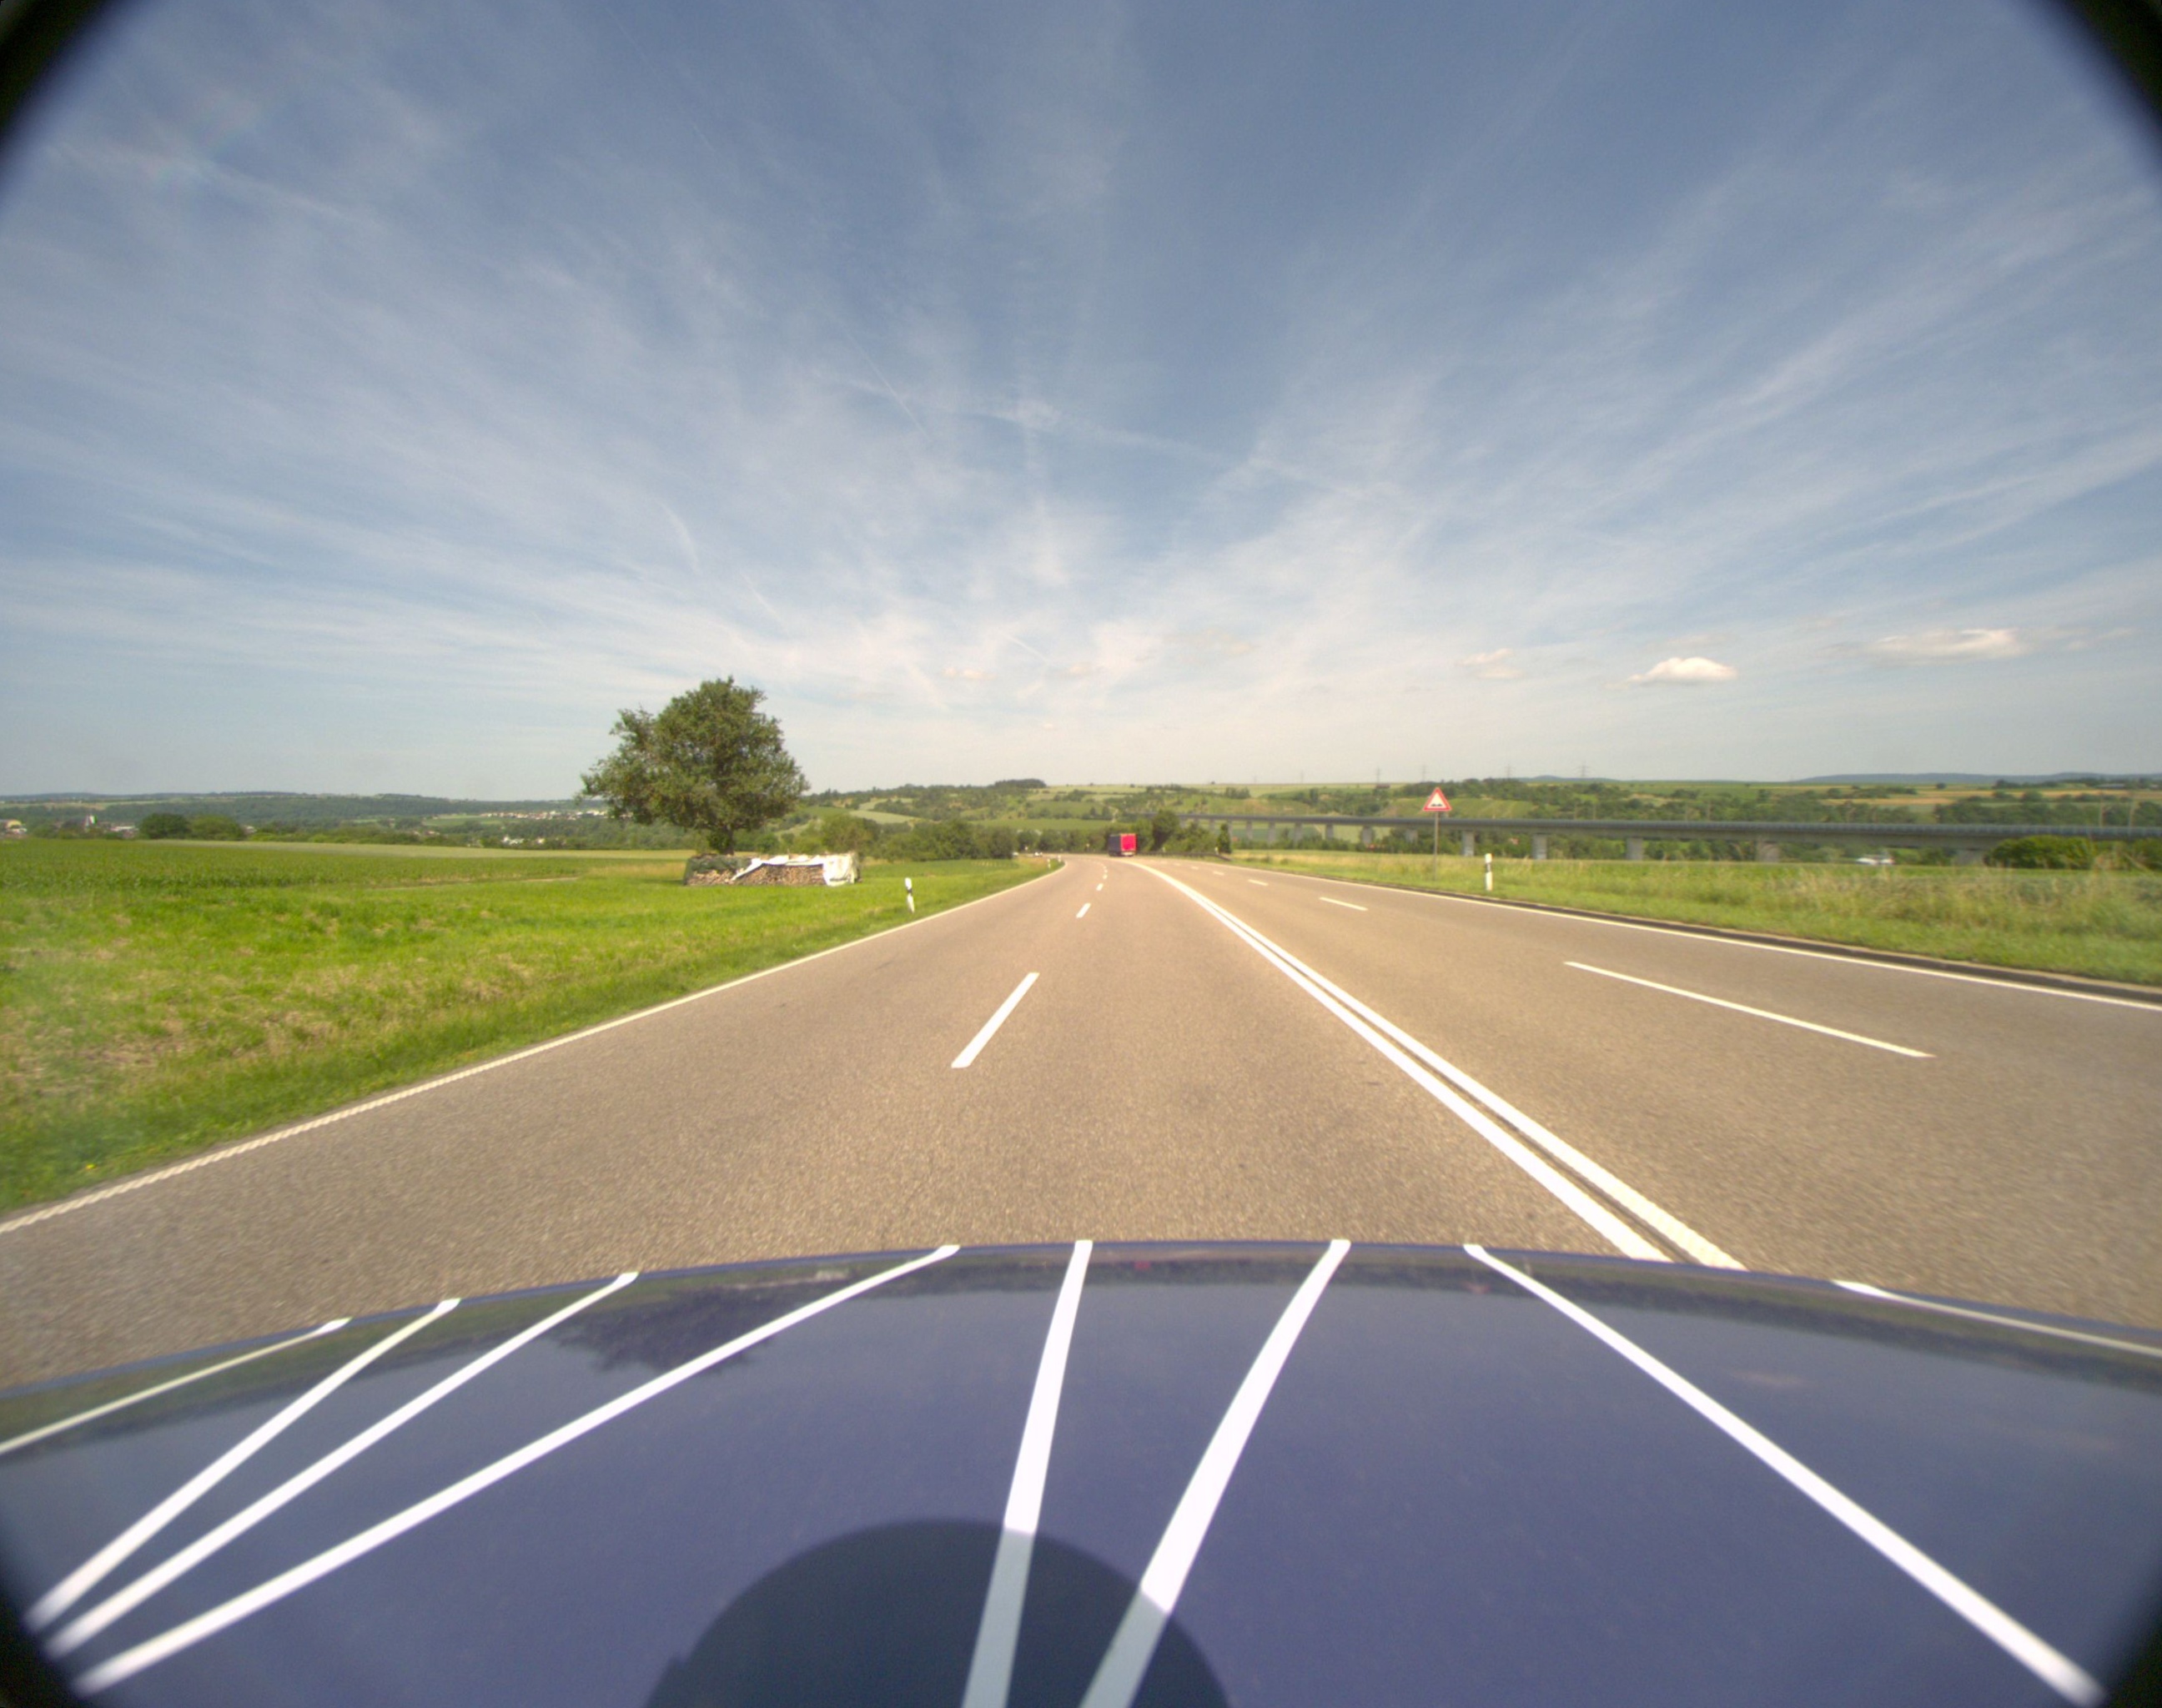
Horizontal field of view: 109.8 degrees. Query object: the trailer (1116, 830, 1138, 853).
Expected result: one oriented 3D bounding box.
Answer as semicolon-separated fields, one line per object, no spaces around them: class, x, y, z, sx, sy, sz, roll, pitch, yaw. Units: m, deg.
trailer;8.316;-2.280;139.582;2.552;4.078;13.577;-1;1;-3
